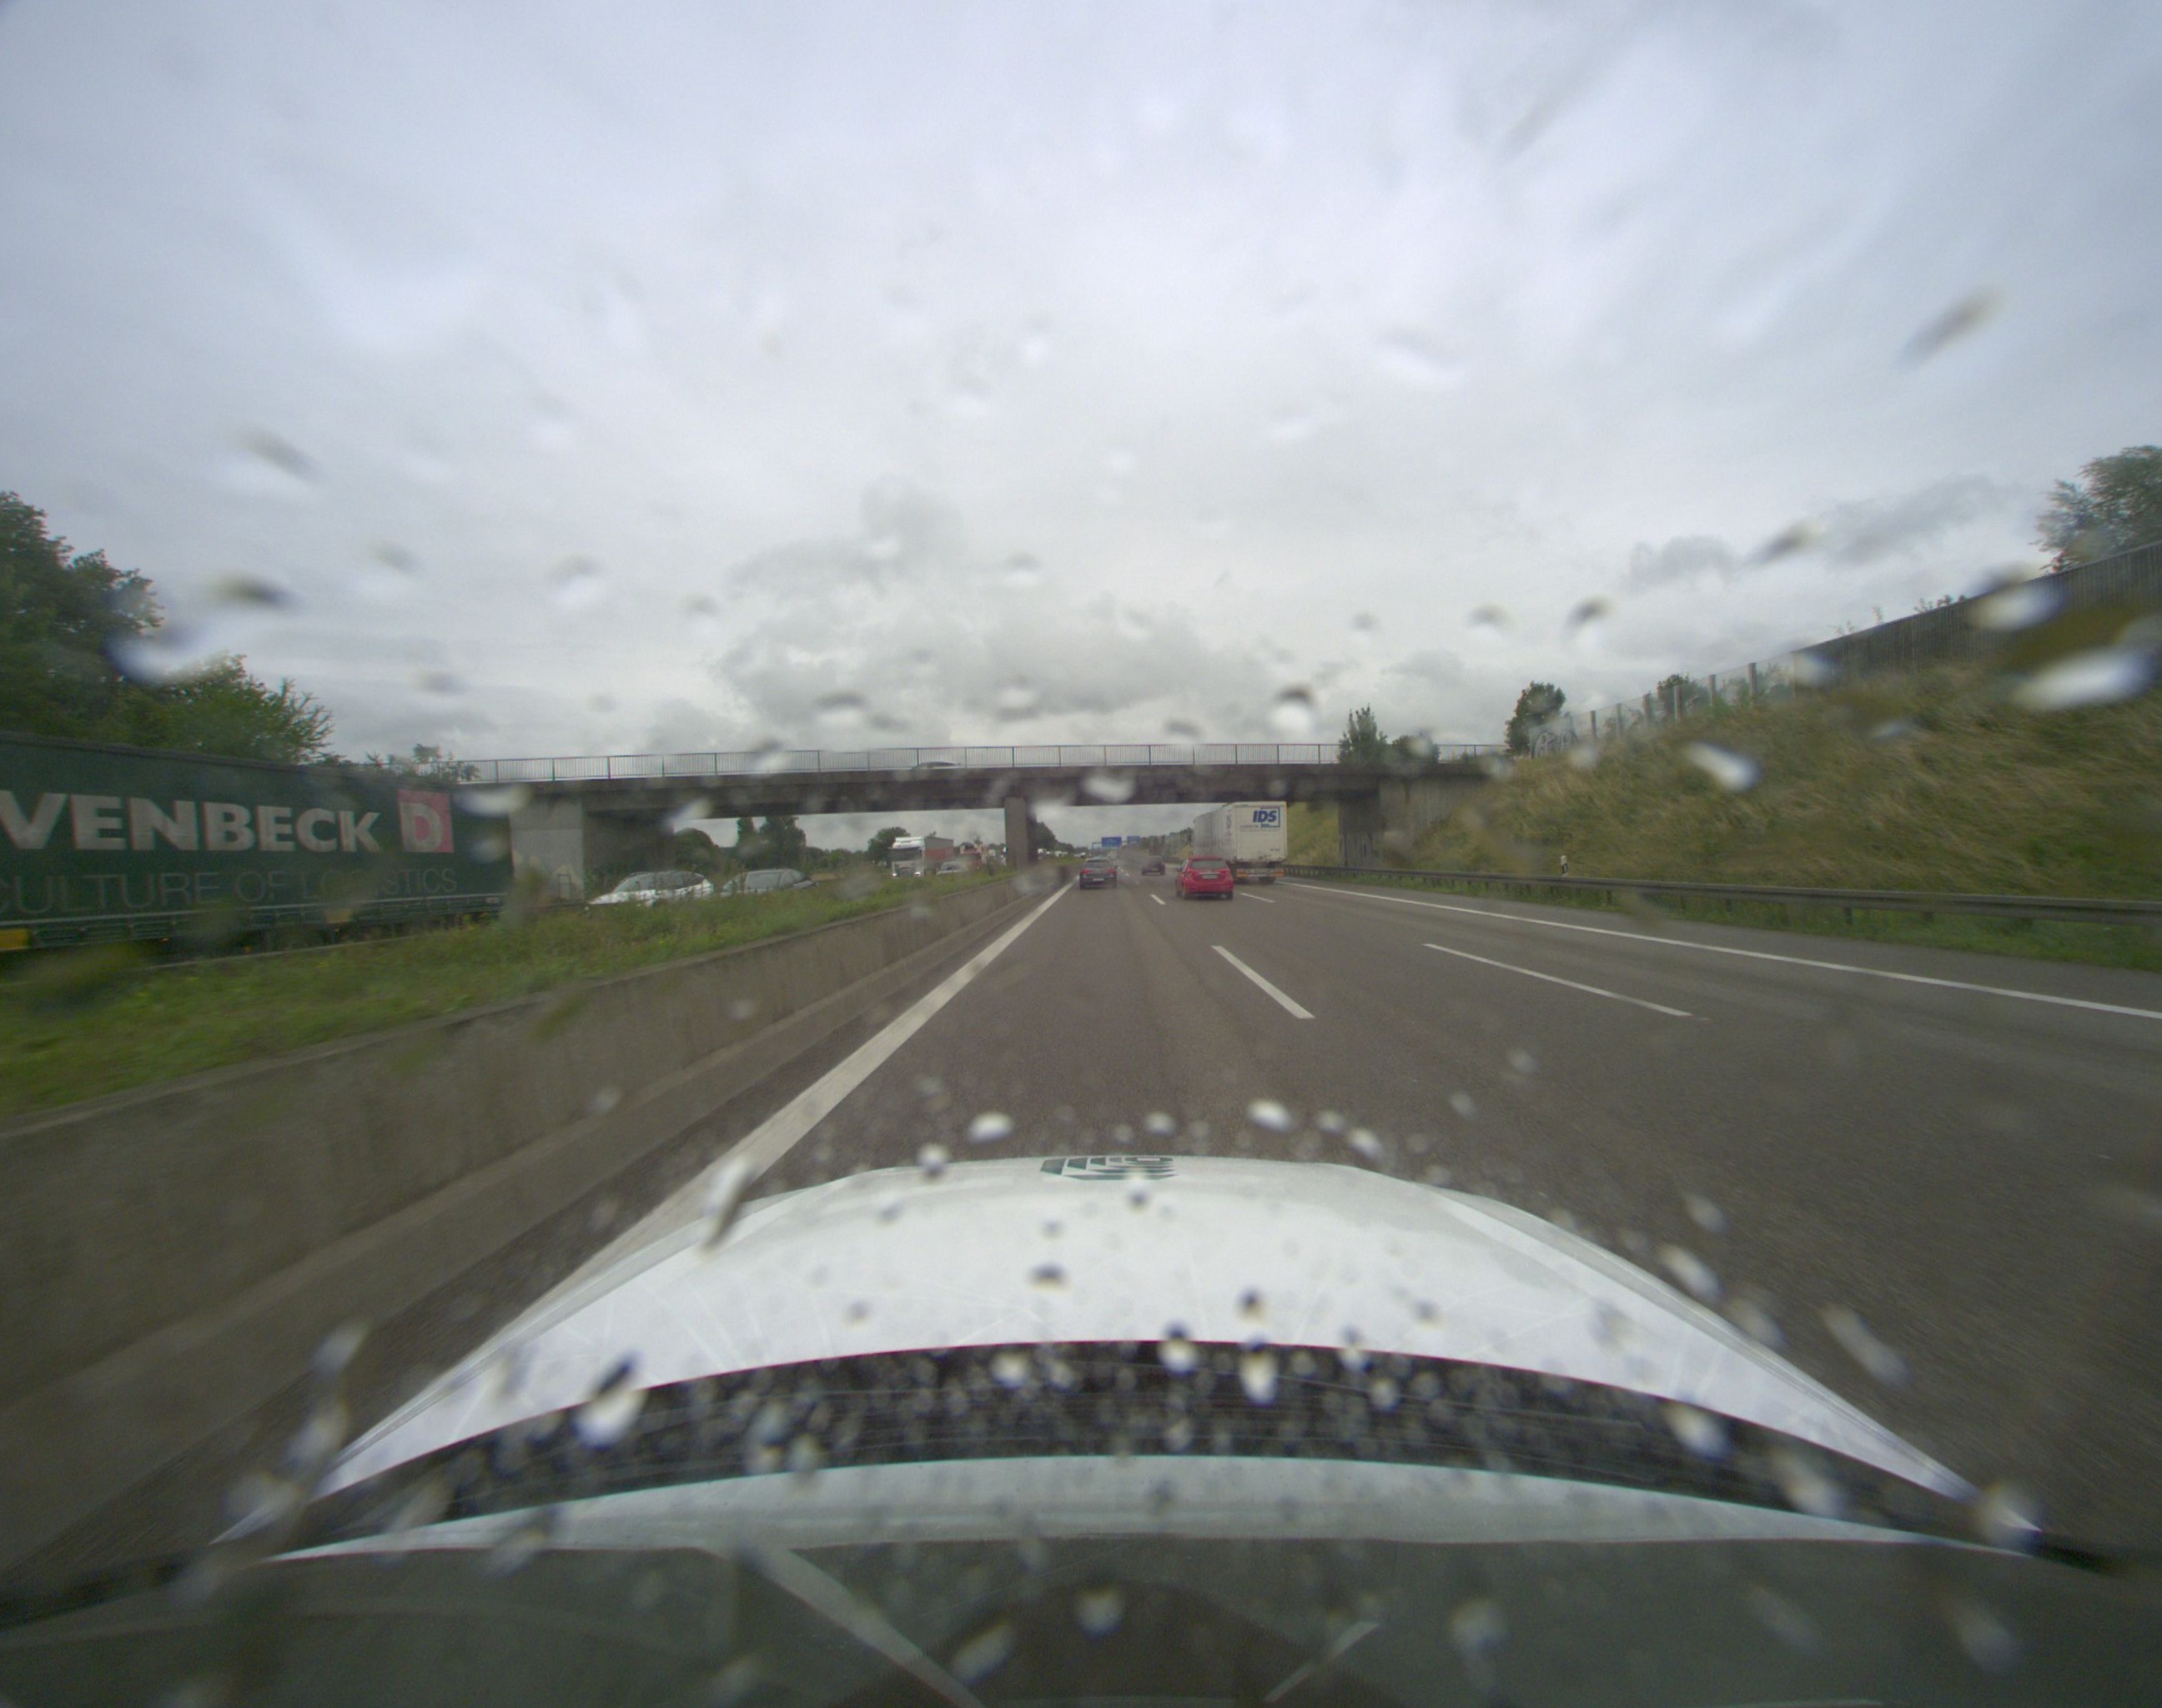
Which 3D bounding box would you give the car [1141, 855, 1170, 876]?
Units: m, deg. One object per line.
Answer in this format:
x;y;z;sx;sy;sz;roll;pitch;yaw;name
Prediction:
5.789;0.882;63.573;1.914;1.522;4.623;-1;0;1;car

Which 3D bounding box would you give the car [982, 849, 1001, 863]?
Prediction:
-13.352;0.277;122.128;2.148;2.014;5.240;0;-1;2;car

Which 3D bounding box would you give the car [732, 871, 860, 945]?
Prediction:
-7.645;1.392;22.288;1.986;1.816;4.001;0;-1;2;car

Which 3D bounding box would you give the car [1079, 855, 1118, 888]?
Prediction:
0.818;0.823;38.617;1.762;1.467;4.000;0;-1;1;car

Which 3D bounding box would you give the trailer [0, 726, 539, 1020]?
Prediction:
-16.164;0.304;14.595;2.747;4.050;14.524;0;-1;2;trailer

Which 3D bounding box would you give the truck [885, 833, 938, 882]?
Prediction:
-14.577;0.327;70.500;3.260;4.045;5.294;0;-1;2;truck

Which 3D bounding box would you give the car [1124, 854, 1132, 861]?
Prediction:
12.332;0.936;215.646;1.986;1.812;4.229;-3;0;2;car

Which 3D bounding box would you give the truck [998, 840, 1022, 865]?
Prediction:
-12.690;-0.137;146.465;2.965;4.319;9.673;0;-1;2;truck

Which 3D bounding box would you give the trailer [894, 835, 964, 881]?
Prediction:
-14.336;0.419;78.477;3.311;3.979;15.750;0;-1;2;trailer

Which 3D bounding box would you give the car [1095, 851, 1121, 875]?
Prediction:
2.268;0.759;68.194;1.986;1.861;4.002;-3;0;2;car

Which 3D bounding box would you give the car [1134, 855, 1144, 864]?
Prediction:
11.967;1.165;167.016;1.839;1.687;4.000;0;-1;1;car

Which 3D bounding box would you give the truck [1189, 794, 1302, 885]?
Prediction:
9.066;-0.577;48.217;3.271;4.295;19.036;0;-1;1;truck

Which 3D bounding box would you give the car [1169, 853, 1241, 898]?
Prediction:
4.326;0.715;29.150;1.884;1.446;4.685;-1;0;1;car

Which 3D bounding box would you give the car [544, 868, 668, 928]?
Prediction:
-16.926;1.505;29.297;1.986;2.014;4.001;0;-1;2;car

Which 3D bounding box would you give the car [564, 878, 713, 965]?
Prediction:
-12.091;1.769;22.590;1.779;2.013;4.002;-3;0;2;car

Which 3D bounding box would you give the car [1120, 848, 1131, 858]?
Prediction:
8.943;-0.231;163.831;1.986;2.014;4.001;0;-1;2;car

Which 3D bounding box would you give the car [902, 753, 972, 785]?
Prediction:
-8.522;-5.013;48.201;3.989;1.618;1.872;0;-1;-12;car

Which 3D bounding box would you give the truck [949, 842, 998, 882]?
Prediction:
-14.006;1.061;107.625;4.018;4.944;14.438;0;-1;2;truck
